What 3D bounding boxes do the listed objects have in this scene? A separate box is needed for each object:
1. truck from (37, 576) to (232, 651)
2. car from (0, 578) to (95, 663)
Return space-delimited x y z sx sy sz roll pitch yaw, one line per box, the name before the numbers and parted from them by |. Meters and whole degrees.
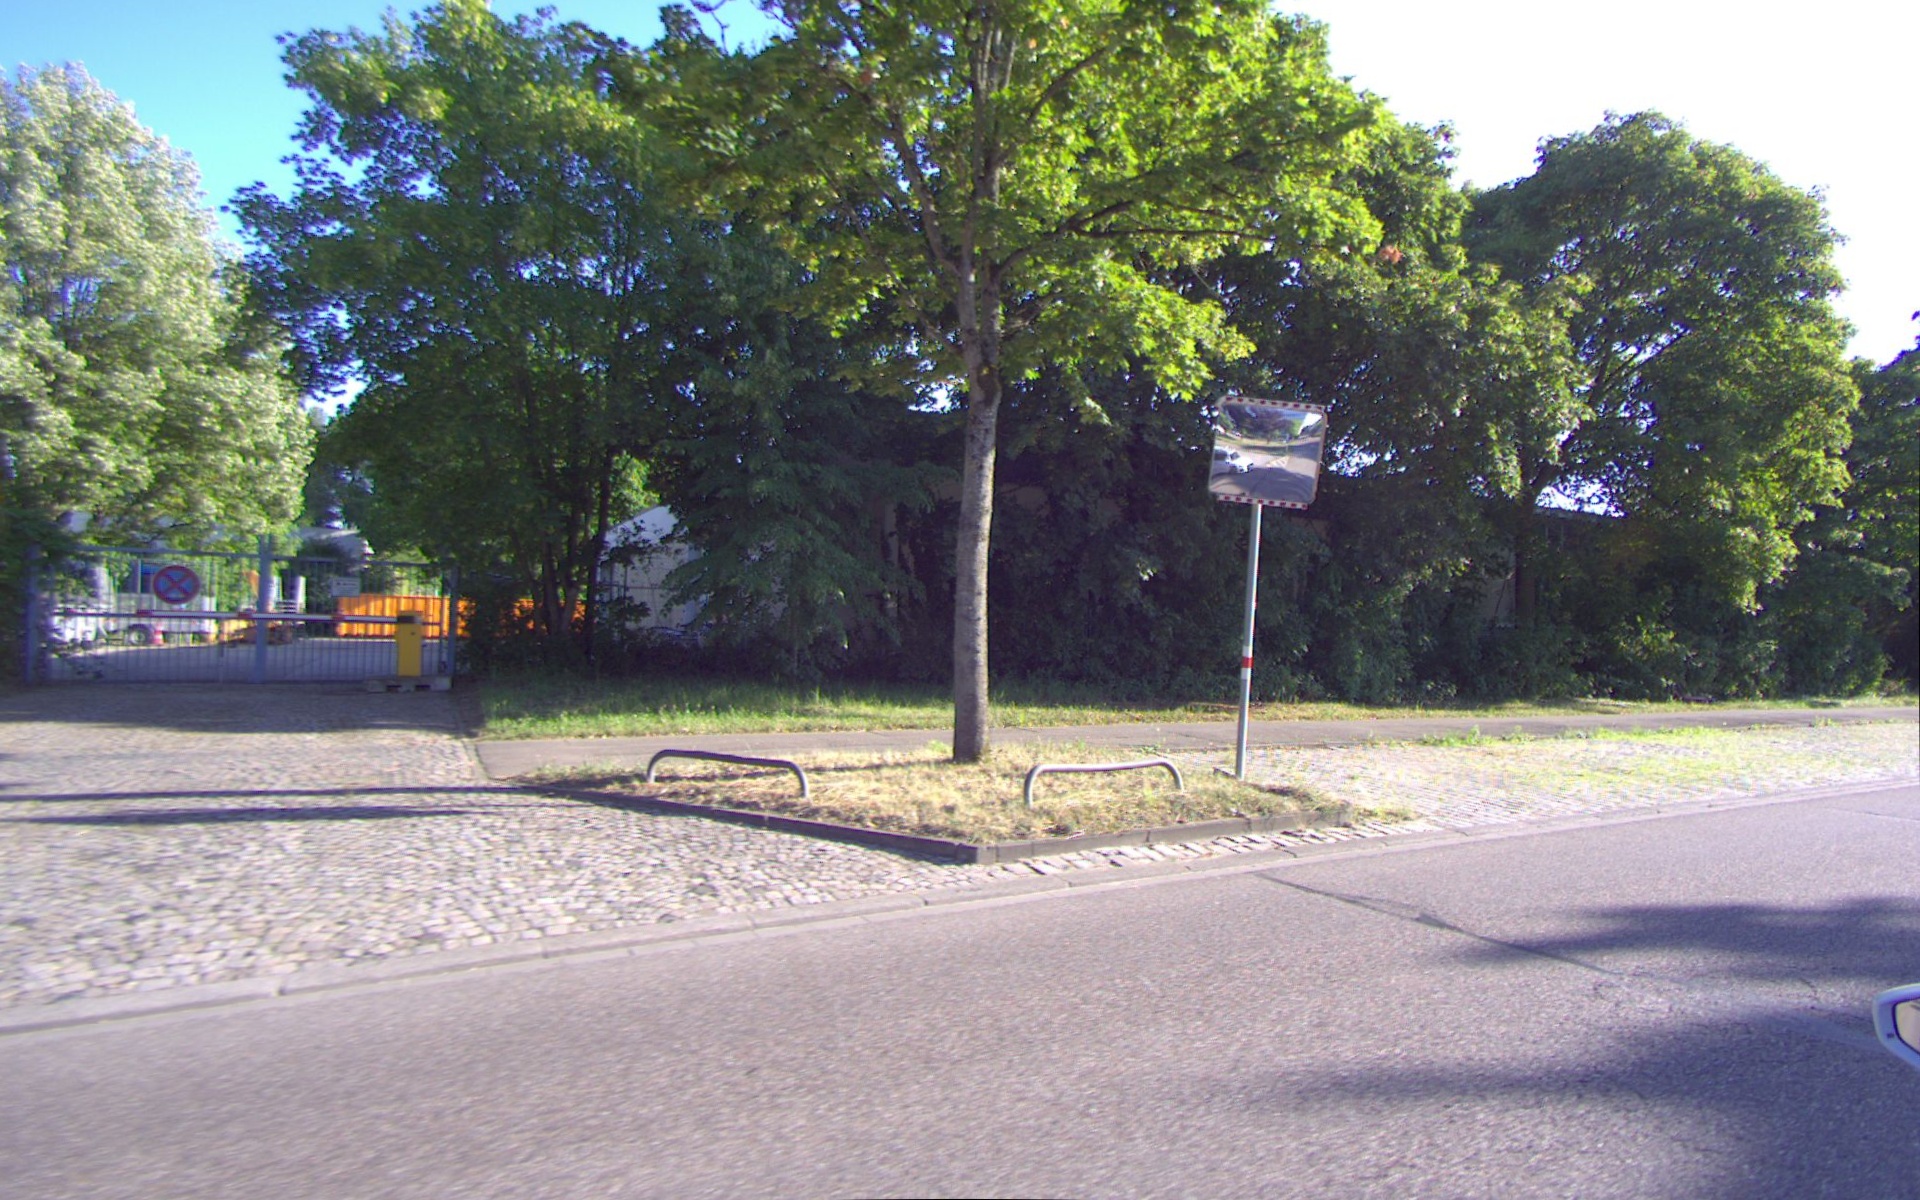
truck | -25.344 0.476 31.066 4.268 2.084 2.043 3 -3 -30
car | -21.158 0.398 21.297 3.958 1.750 1.897 3 -3 -33
